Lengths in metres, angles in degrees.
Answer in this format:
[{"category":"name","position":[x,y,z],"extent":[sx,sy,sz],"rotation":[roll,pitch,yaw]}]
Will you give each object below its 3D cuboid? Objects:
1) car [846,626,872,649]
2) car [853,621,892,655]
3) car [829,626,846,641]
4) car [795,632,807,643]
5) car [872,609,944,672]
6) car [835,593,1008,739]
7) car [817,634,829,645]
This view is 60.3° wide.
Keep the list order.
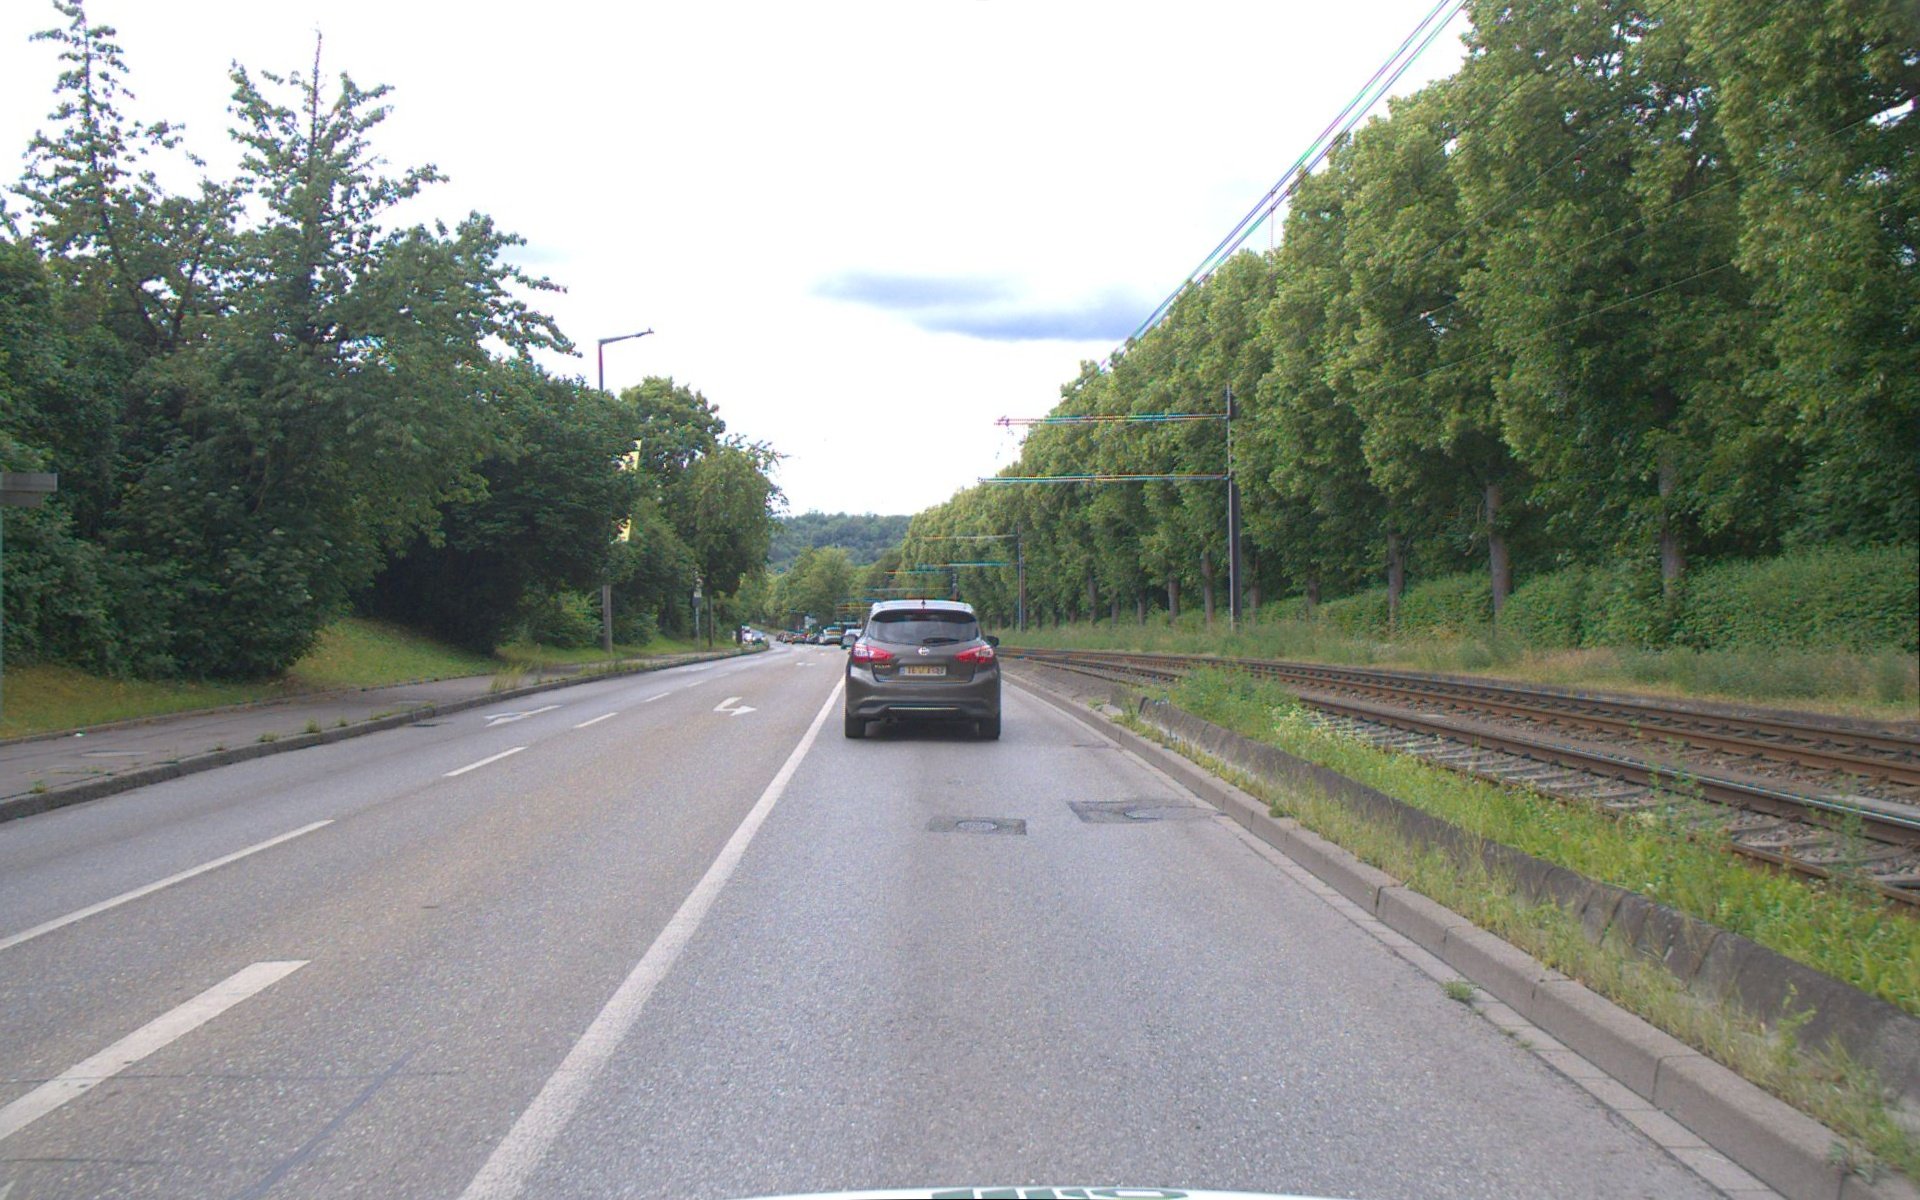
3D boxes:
[{"category":"car","position":[-6.621,2.440,108.075],"extent":[1.666,1.469,3.996],"rotation":[0,-2,-4]},{"category":"car","position":[-3.861,1.673,72.731],"extent":[1.666,1.469,3.996],"rotation":[0,-2,-4]},{"category":"car","position":[-12.957,3.566,175.485],"extent":[1.759,1.537,3.996],"rotation":[0,-2,-4]},{"category":"car","position":[-24.406,5.754,253.942],"extent":[1.666,1.744,3.996],"rotation":[0,-2,-4]},{"category":"car","position":[-1.315,1.002,40.664],"extent":[1.666,1.469,3.997],"rotation":[0,-2,-3]},{"category":"car","position":[-0.437,0.720,19.616],"extent":[1.813,1.519,3.999],"rotation":[1,-1,-1]},{"category":"car","position":[-20.058,5.794,242.316],"extent":[1.666,1.502,3.702],"rotation":[0,-2,-4]}]
